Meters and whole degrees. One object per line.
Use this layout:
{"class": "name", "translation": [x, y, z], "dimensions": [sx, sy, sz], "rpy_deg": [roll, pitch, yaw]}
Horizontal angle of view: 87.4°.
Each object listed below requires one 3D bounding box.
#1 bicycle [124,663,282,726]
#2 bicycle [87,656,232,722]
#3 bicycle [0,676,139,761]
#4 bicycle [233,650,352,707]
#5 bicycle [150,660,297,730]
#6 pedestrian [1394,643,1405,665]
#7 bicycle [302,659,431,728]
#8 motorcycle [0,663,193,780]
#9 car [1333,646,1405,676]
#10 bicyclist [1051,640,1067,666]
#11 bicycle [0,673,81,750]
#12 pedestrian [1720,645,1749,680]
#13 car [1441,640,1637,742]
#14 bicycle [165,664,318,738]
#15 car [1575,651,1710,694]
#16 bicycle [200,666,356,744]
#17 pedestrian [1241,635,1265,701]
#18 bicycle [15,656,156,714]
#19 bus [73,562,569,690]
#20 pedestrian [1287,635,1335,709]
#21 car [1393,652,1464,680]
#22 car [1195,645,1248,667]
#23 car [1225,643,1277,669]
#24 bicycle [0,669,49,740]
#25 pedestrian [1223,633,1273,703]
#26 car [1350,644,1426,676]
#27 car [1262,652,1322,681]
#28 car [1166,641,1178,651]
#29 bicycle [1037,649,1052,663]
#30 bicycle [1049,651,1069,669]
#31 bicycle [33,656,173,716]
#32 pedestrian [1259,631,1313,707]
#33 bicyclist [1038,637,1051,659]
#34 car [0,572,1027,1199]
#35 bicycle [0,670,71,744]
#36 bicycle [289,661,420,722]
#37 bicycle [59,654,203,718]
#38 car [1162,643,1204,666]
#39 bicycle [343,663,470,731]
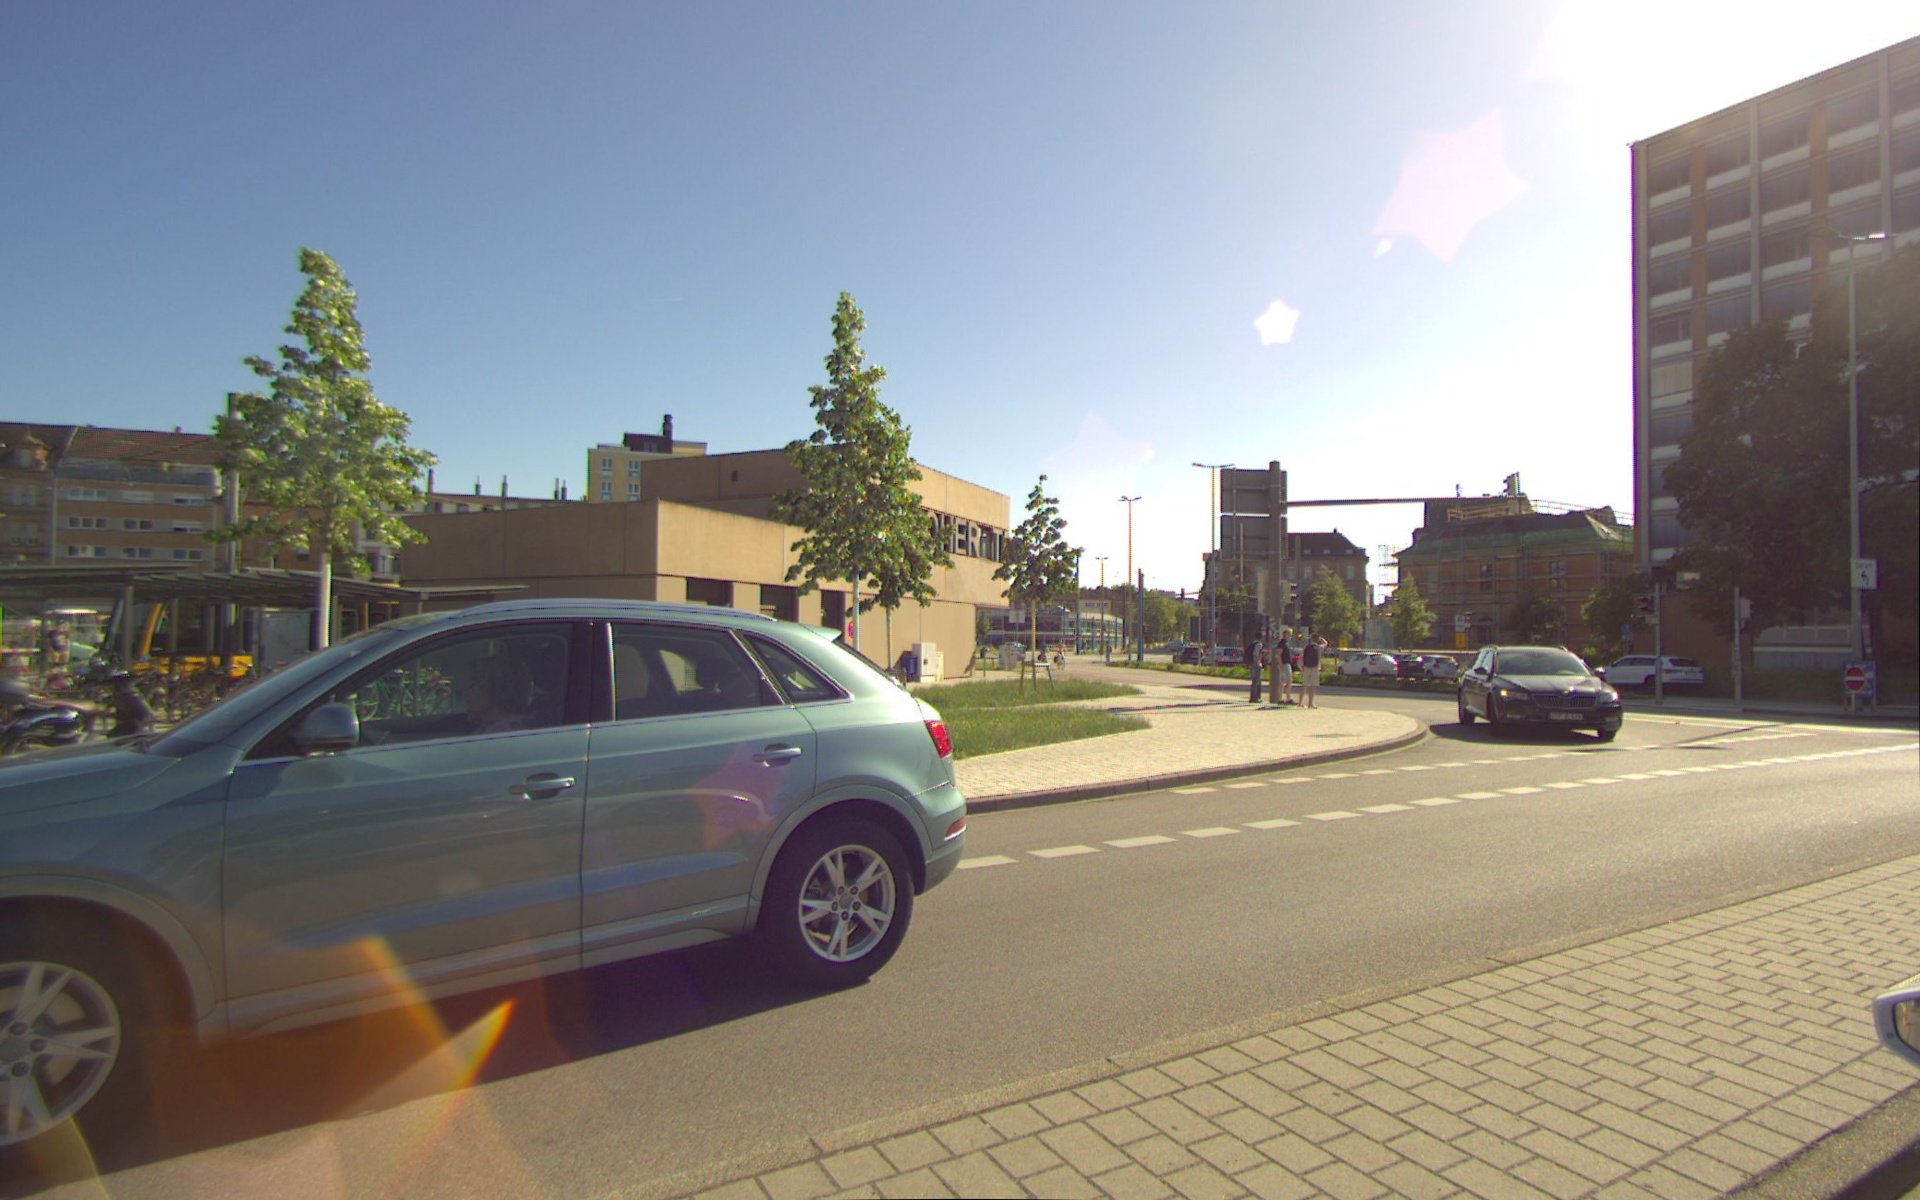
{"class": "bicycle", "translation": [-13.698, 1.679, 18.263], "dimensions": [0.673, 0.956, 2.233], "rpy_deg": [2, 0, 25]}
{"class": "bicycle", "translation": [-15.006, 1.642, 18.908], "dimensions": [0.524, 1.051, 2.070], "rpy_deg": [5, 1, 26]}
{"class": "bicycle", "translation": [-12.192, 1.575, 13.580], "dimensions": [0.399, 0.985, 1.683], "rpy_deg": [2, 0, 22]}
{"class": "bicycle", "translation": [-13.906, 1.616, 20.995], "dimensions": [0.524, 1.051, 2.070], "rpy_deg": [2, 0, 26]}
{"class": "bicycle", "translation": [-12.888, 1.631, 17.659], "dimensions": [0.524, 1.051, 2.070], "rpy_deg": [2, 0, 26]}
{"class": "pedestrian", "translation": [32.471, 3.992, 74.153], "dimensions": [0.636, 1.637, 0.548], "rpy_deg": [0, -2, 10]}
{"class": "bicycle", "translation": [-10.883, 1.680, 18.498], "dimensions": [0.594, 1.093, 2.053], "rpy_deg": [2, 0, 25]}
{"class": "motorcycle", "translation": [-10.839, 1.448, 12.478], "dimensions": [0.558, 1.235, 2.087], "rpy_deg": [0, -1, 21]}
{"class": "car", "translation": [21.591, 3.225, 53.170], "dimensions": [1.712, 1.454, 3.842], "rpy_deg": [1, -2, -10]}
{"class": "bicyclist", "translation": [5.896, 3.154, 59.746], "dimensions": [0.727, 1.519, 1.071], "rpy_deg": [1, -3, -7]}
{"class": "bicycle", "translation": [-13.220, 1.545, 13.815], "dimensions": [0.399, 0.985, 1.683], "rpy_deg": [2, 0, 22]}
{"class": "pedestrian", "translation": [35.962, 2.908, 46.648], "dimensions": [0.549, 1.591, 0.862], "rpy_deg": [0, -4, -7]}
{"class": "car", "translation": [9.913, 1.521, 17.636], "dimensions": [1.783, 1.524, 4.788], "rpy_deg": [-2, -4, 15]}
{"class": "bicycle", "translation": [-11.971, 1.654, 16.827], "dimensions": [0.524, 1.051, 2.070], "rpy_deg": [2, 0, 26]}
{"class": "car", "translation": [29.094, 3.061, 43.028], "dimensions": [1.812, 1.653, 4.827], "rpy_deg": [1, -2, -13]}
{"class": "bicycle", "translation": [-10.893, 1.651, 16.135], "dimensions": [0.524, 1.051, 2.070], "rpy_deg": [2, 0, 26]}
{"class": "pedestrian", "translation": [7.900, 1.834, 27.086], "dimensions": [0.585, 1.751, 0.580], "rpy_deg": [0, -2, 14]}
{"class": "bicycle", "translation": [-17.761, 1.698, 20.459], "dimensions": [0.524, 1.051, 2.070], "rpy_deg": [5, 0, 26]}
{"class": "bus", "translation": [-18.481, 0.867, 31.231], "dimensions": [2.810, 3.112, 13.620], "rpy_deg": [0, -2, 25]}
{"class": "pedestrian", "translation": [8.344, 1.717, 23.913], "dimensions": [0.782, 1.711, 0.786], "rpy_deg": [5, -6, -38]}
{"class": "car", "translation": [26.377, 3.727, 56.731], "dimensions": [1.712, 1.454, 3.841], "rpy_deg": [1, -2, -11]}
{"class": "car", "translation": [17.437, 3.722, 67.246], "dimensions": [1.809, 1.406, 4.897], "rpy_deg": [1, -2, -6]}
{"class": "car", "translation": [20.053, 3.838, 69.433], "dimensions": [1.810, 1.653, 4.382], "rpy_deg": [1, -2, -8]}
{"class": "bicycle", "translation": [-14.190, 1.527, 14.378], "dimensions": [0.399, 0.985, 1.683], "rpy_deg": [2, 0, 22]}
{"class": "pedestrian", "translation": [7.296, 1.732, 25.465], "dimensions": [0.831, 1.711, 0.896], "rpy_deg": [5, -5, -34]}
{"class": "car", "translation": [23.676, 3.308, 55.761], "dimensions": [1.811, 1.653, 4.380], "rpy_deg": [1, -2, -9]}
{"class": "car", "translation": [20.712, 4.132, 62.888], "dimensions": [1.810, 1.653, 4.382], "rpy_deg": [1, -2, -8]}
{"class": "car", "translation": [42.658, 9.212, 202.175], "dimensions": [1.959, 2.040, 4.003], "rpy_deg": [0, -2, 7]}
{"class": "bicycle", "translation": [5.665, 3.751, 67.458], "dimensions": [0.674, 0.930, 1.990], "rpy_deg": [0, -4, -6]}
{"class": "bicycle", "translation": [5.887, 3.582, 59.723], "dimensions": [0.727, 1.008, 1.989], "rpy_deg": [1, -4, -7]}
{"class": "bicycle", "translation": [-16.873, 1.678, 19.851], "dimensions": [0.524, 1.051, 2.070], "rpy_deg": [-2, -2, 26]}
{"class": "pedestrian", "translation": [8.027, 1.708, 24.727], "dimensions": [1.088, 1.822, 0.701], "rpy_deg": [3, -5, -24]}
{"class": "bicyclist", "translation": [5.670, 3.244, 67.489], "dimensions": [0.674, 1.440, 1.127], "rpy_deg": [1, -4, -7]}
{"class": "car", "translation": [-1.915, 0.805, 4.057], "dimensions": [4.216, 1.602, 1.776], "rpy_deg": [2, -4, -36]}
{"class": "bicycle", "translation": [-13.686, 1.532, 14.176], "dimensions": [0.399, 0.985, 1.683], "rpy_deg": [2, 0, 22]}
{"class": "bicycle", "translation": [-11.752, 1.750, 19.574], "dimensions": [0.679, 1.011, 2.140], "rpy_deg": [2, 0, 26]}
{"class": "bicycle", "translation": [-15.891, 1.625, 19.322], "dimensions": [0.524, 1.051, 2.070], "rpy_deg": [5, 1, 26]}
{"class": "car", "translation": [16.664, 4.072, 75.215], "dimensions": [1.809, 1.653, 4.383], "rpy_deg": [1, -2, -6]}
{"class": "bicycle", "translation": [-9.957, 1.722, 18.163], "dimensions": [0.524, 1.051, 2.070], "rpy_deg": [2, 0, 26]}
